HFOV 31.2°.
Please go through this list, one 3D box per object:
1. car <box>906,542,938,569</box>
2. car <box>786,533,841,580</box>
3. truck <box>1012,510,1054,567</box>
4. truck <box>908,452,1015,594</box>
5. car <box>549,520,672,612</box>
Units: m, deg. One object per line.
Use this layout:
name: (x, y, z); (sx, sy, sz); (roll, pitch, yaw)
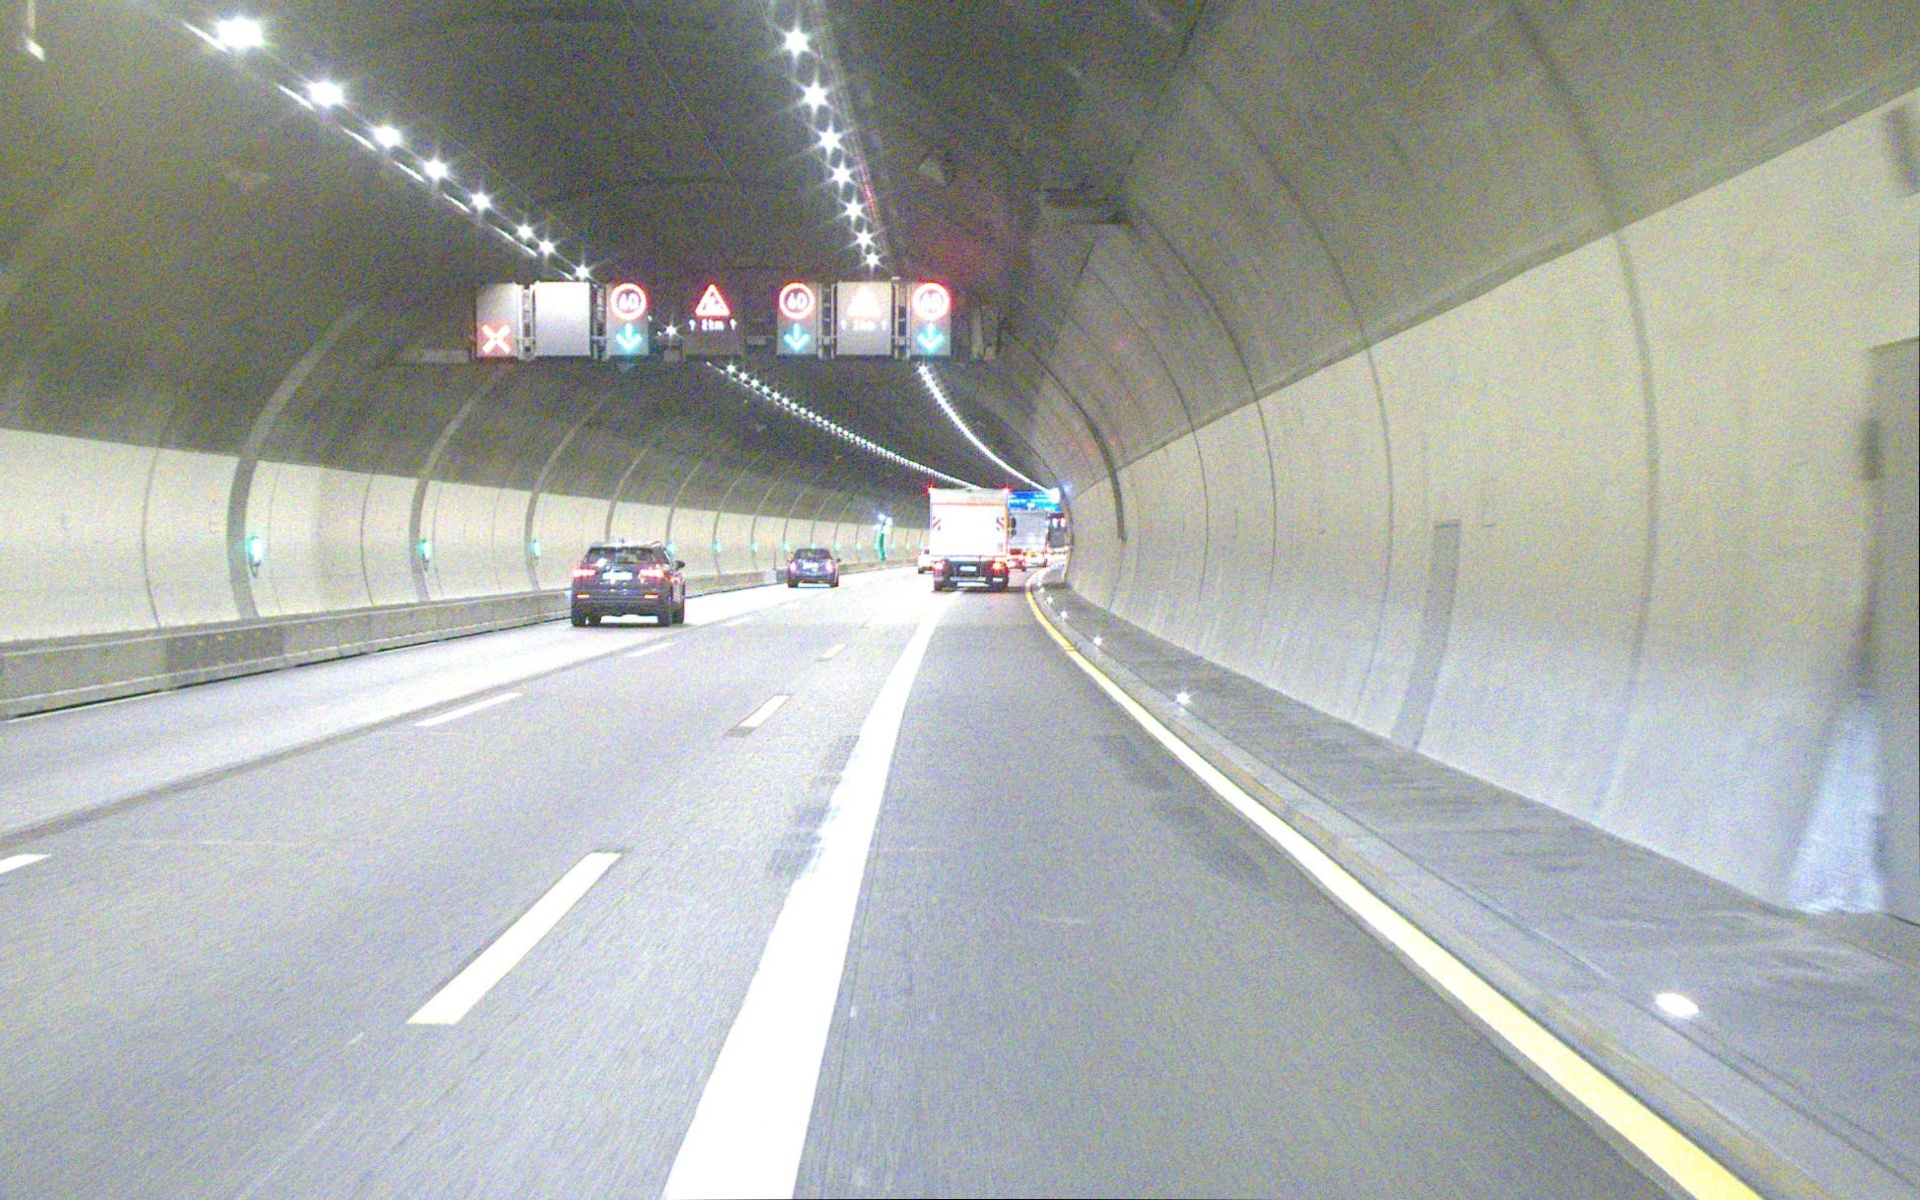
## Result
car: (-2.042, -2.399, 183.998); (1.650, 1.270, 4.001); (1, 2, -1)
car: (-5.172, -1.562, 121.854); (1.812, 1.514, 4.001); (1, 2, -1)
truck: (5.260, -4.412, 247.659); (2.923, 4.034, 14.029); (0, 1, 1)
truck: (-0.080, -2.647, 121.157); (3.278, 4.634, 17.288); (0, 1, -2)
car: (-6.463, -0.655, 63.910); (1.812, 1.612, 4.000); (1, 1, 0)
